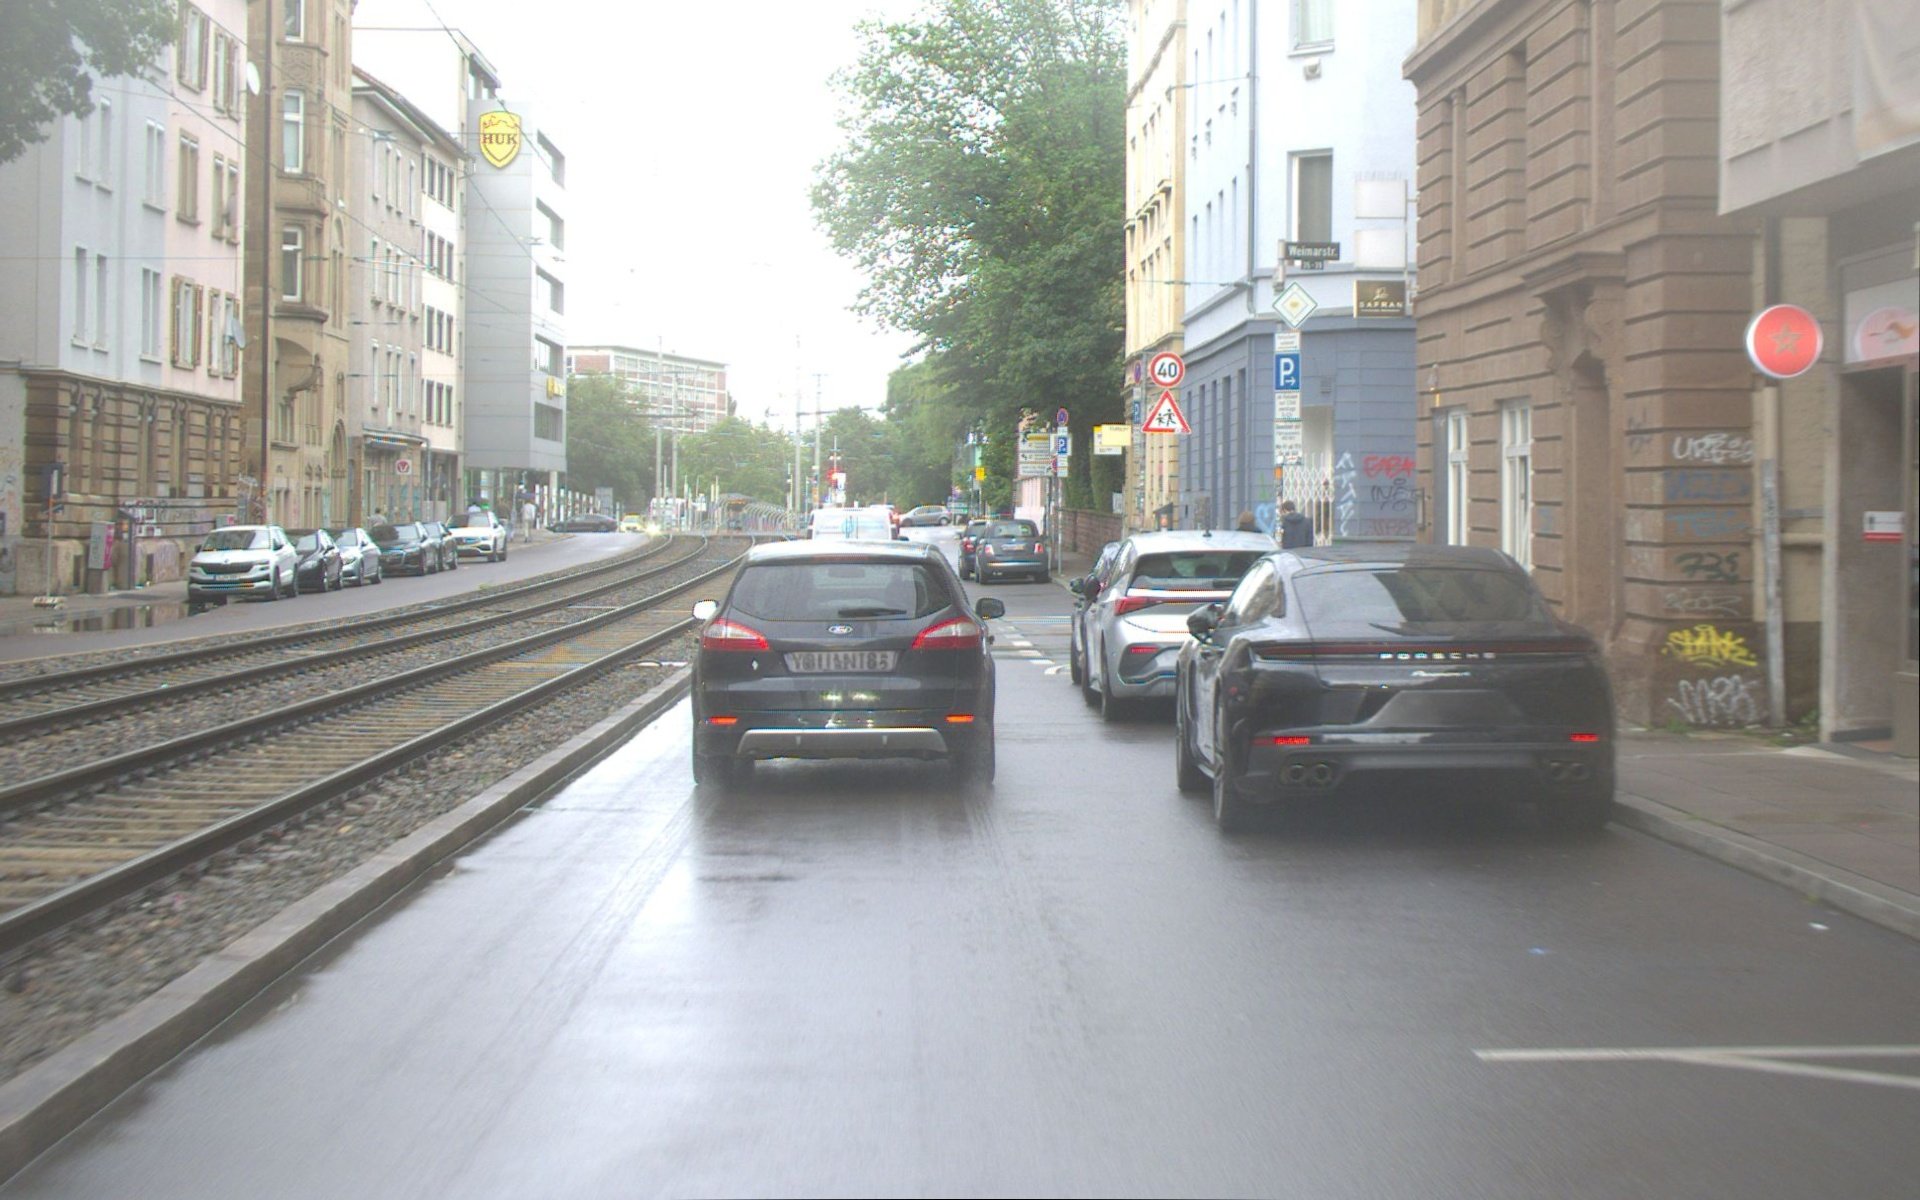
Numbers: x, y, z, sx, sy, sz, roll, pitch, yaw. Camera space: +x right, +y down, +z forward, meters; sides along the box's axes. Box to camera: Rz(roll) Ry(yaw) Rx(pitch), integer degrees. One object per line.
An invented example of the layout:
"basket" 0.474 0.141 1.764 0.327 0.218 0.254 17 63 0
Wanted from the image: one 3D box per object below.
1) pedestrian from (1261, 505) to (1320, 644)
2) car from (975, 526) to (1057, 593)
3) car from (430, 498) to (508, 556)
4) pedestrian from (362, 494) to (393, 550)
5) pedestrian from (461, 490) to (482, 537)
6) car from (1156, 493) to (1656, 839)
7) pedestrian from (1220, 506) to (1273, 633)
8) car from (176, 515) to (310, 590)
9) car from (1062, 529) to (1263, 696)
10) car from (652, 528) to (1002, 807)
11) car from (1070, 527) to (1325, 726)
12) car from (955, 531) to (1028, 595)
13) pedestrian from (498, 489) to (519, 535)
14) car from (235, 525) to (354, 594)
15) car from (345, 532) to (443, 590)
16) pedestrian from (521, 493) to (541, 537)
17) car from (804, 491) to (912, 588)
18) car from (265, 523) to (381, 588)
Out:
"pedestrian" 4.848 -0.380 50.433 0.736 2.007 0.821 1 1 -2
"car" 1.299 -0.972 81.162 1.738 1.484 4.001 1 2 -2
"car" -16.032 -2.385 112.452 1.993 1.833 5.071 1 1 -2
"pedestrian" -18.382 -2.471 108.541 0.801 1.744 0.984 1 1 -2
"pedestrian" -19.801 -3.504 139.393 0.744 1.847 0.839 0 0 -2
"car" 2.180 0.295 18.084 1.993 1.588 4.572 0 0 -1
"pedestrian" 4.200 -0.458 50.405 0.661 1.845 0.821 1 1 -2
"car" -15.228 -1.018 73.262 1.993 1.514 4.435 1 1 -1
"car" 1.946 0.071 34.105 1.720 1.510 4.259 1 2 0
"car" -0.781 0.375 21.704 1.993 1.588 4.271 0 0 -1
"car" 1.942 0.164 29.307 1.746 1.518 4.355 1 2 -1
"car" 0.773 -0.944 85.997 1.642 1.510 4.039 1 2 -2
"pedestrian" -18.307 -3.573 139.475 0.744 1.847 0.839 0 0 -2
"car" -15.301 -0.946 79.267 1.993 1.514 4.209 1 1 -1
"car" -15.555 -1.083 94.697 1.993 1.514 4.676 1 1 -1
"pedestrian" -18.178 -3.596 145.700 0.744 1.847 0.839 0 0 -2
"car" -1.918 -1.134 65.951 1.993 1.810 4.271 0 0 -1
"car" -15.547 -1.101 84.107 1.993 1.514 4.992 1 1 -1
